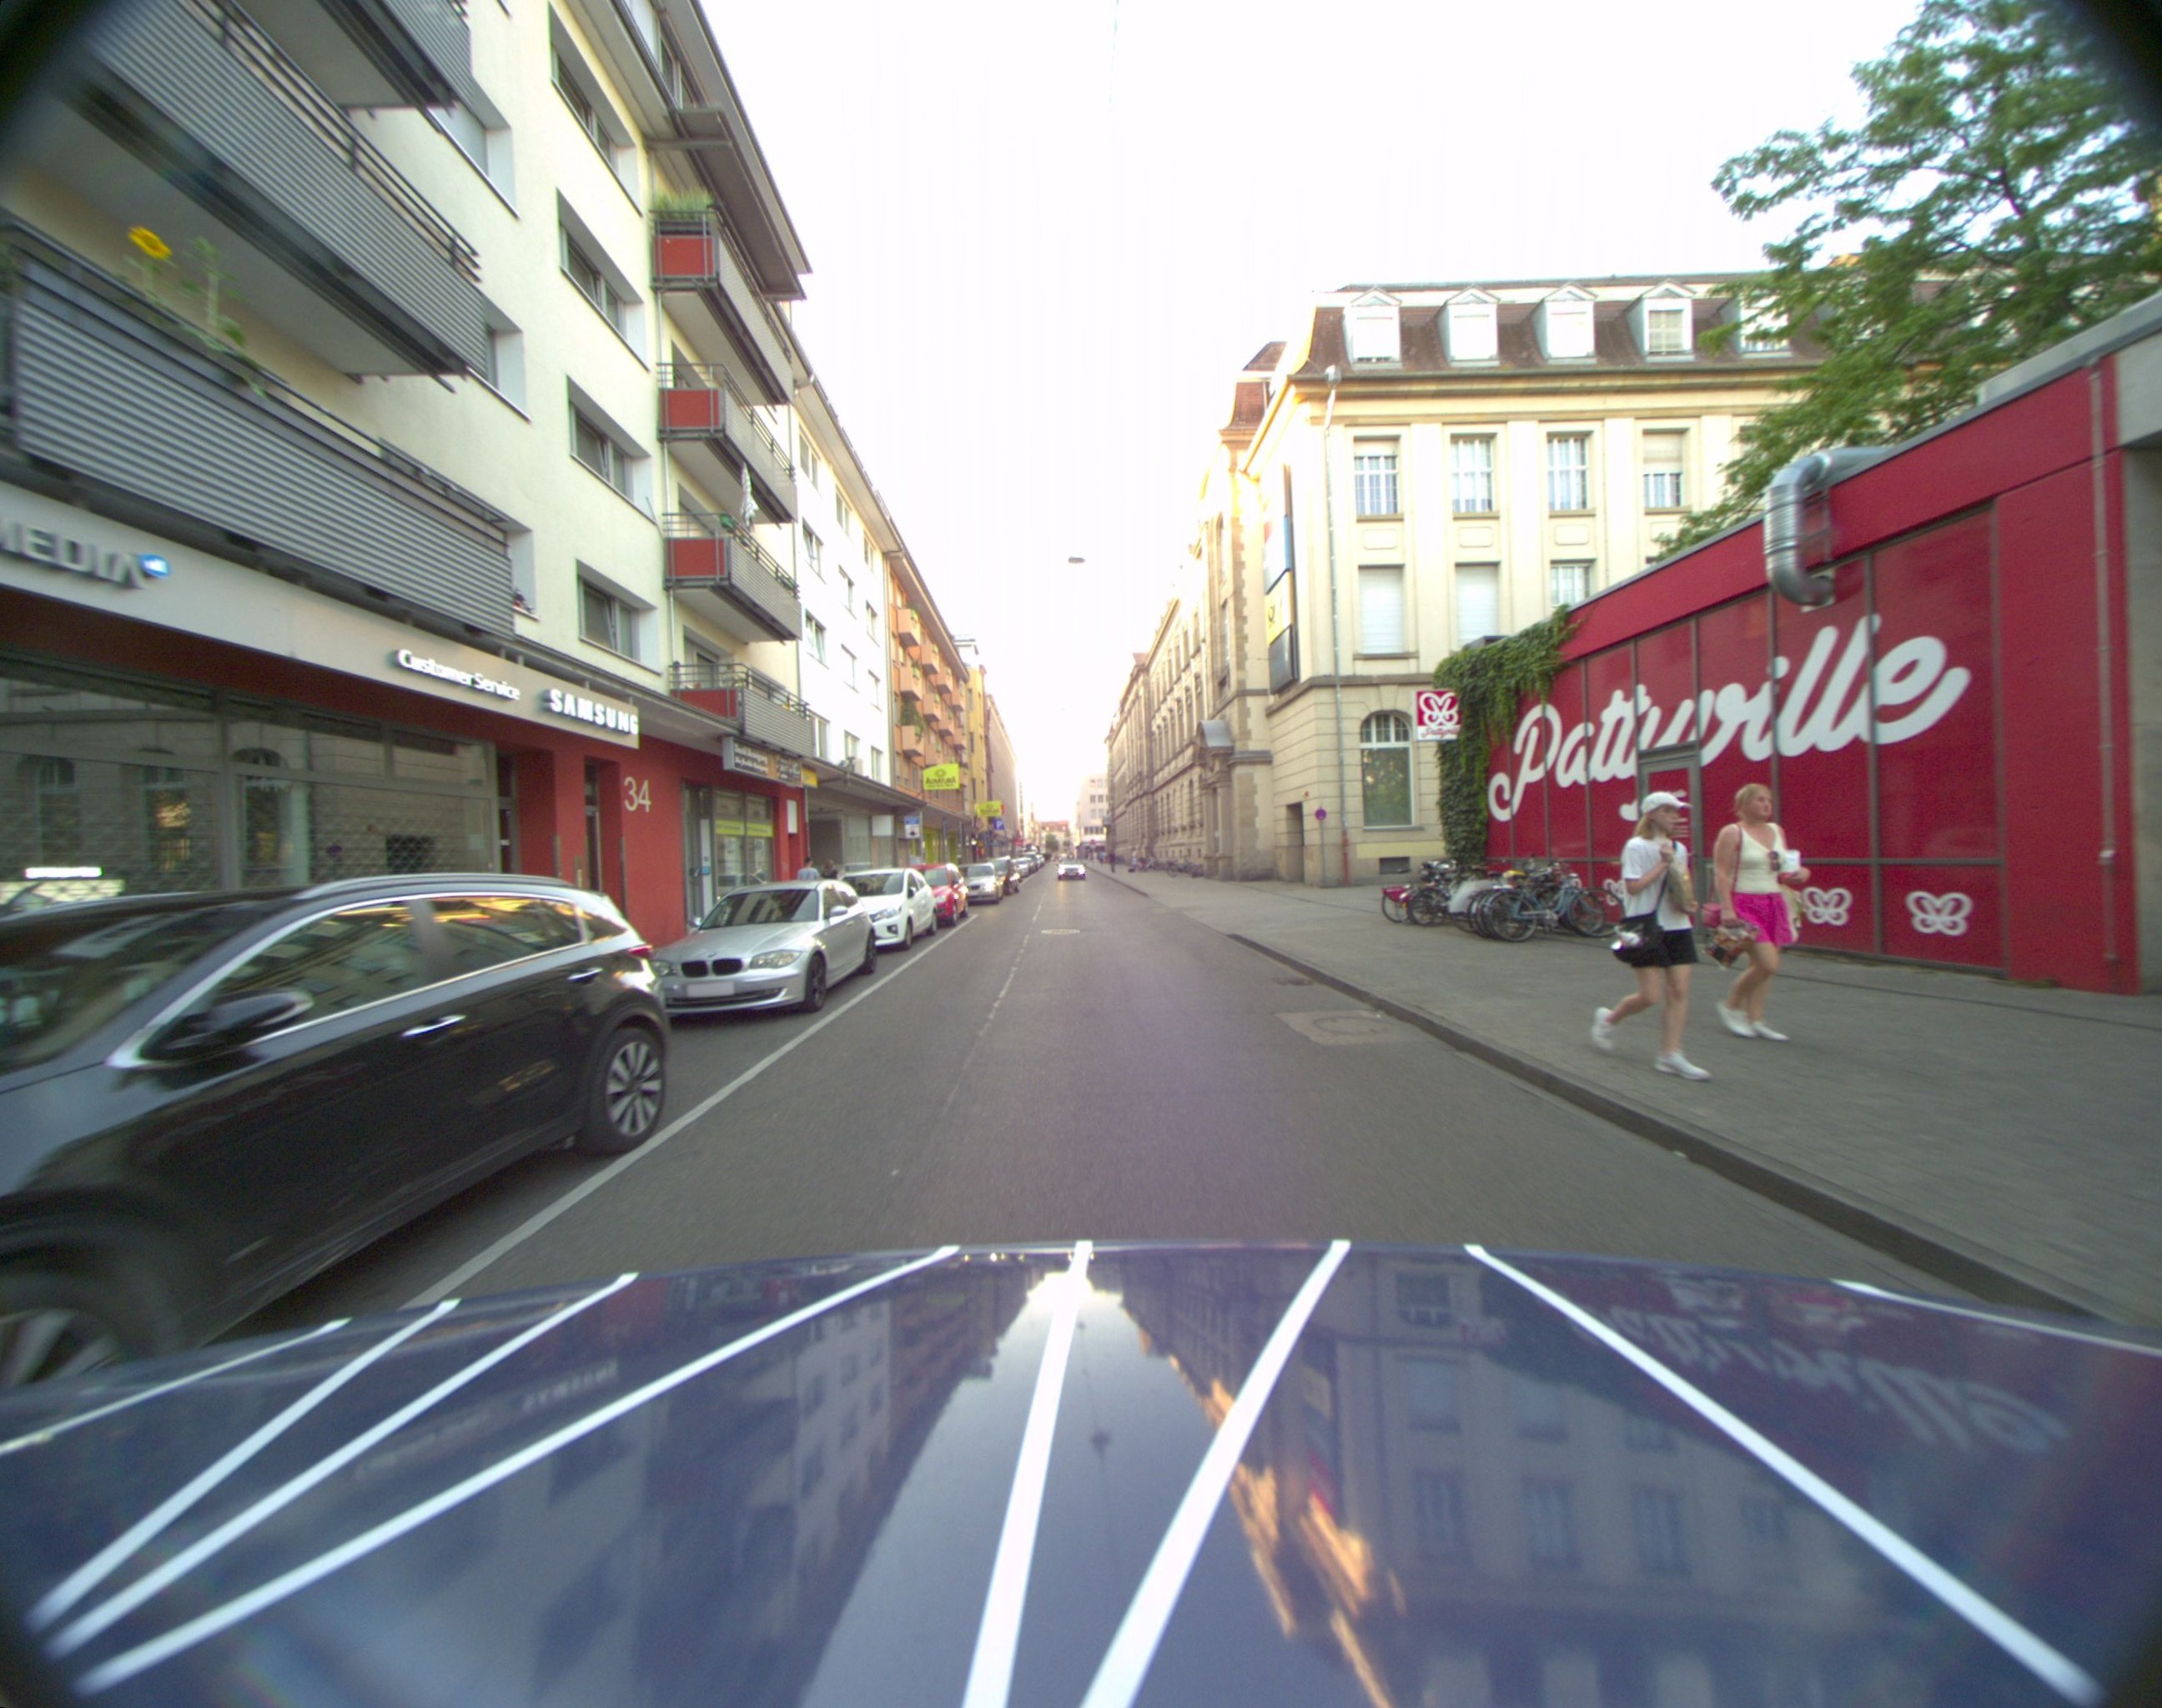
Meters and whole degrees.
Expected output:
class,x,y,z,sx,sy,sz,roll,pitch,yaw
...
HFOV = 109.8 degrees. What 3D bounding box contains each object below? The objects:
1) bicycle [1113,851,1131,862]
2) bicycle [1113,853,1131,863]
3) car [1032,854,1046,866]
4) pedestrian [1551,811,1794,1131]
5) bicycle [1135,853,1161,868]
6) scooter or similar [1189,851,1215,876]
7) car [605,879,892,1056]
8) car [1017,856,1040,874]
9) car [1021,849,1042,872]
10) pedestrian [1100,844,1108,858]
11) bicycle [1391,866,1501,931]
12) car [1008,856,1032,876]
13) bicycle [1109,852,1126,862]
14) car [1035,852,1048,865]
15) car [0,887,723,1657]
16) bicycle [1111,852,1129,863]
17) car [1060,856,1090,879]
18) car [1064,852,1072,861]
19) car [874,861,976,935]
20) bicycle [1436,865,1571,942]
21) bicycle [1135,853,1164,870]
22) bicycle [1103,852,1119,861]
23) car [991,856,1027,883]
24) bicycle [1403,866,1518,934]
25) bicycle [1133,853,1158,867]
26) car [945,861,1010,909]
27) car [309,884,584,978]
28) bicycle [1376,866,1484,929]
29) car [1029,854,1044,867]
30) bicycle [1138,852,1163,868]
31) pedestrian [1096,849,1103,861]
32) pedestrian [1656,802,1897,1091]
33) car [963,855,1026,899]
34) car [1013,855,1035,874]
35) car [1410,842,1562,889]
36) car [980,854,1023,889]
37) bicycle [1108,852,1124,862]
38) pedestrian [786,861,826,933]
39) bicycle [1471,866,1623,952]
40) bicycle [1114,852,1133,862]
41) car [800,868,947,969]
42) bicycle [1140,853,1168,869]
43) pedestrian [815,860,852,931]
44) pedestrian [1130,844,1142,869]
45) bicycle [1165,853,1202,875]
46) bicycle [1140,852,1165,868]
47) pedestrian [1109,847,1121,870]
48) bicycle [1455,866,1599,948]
class,x,y,z,sx,sy,sz,roll,pitch,yaw
bicycle,4.748,0.301,87.580,1.942,1.072,0.748,-4,1,-2
bicycle,4.780,0.432,89.621,1.943,1.072,0.729,-4,1,-8
car,-5.807,0.778,105.324,1.661,1.439,3.868,-4,1,0
pedestrian,3.583,0.648,4.700,0.650,1.740,0.985,-3,0,-2
bicycle,5.410,0.507,61.069,1.943,1.055,0.619,-4,1,-7
scooter or similar,6.249,0.492,39.154,1.137,1.225,0.496,-4,1,-13
car,-3.734,1.159,9.514,1.703,1.443,4.457,-5,0,-3
car,-4.811,0.960,69.800,1.691,1.444,4.498,-5,0,0
car,-4.955,0.616,76.883,1.851,2.046,5.052,-4,1,-2
pedestrian,2.956,-0.350,96.711,0.831,1.736,0.769,-5,1,-1
bicycle,6.796,0.812,14.188,1.799,1.101,0.500,-3,1,-2
car,-4.723,0.908,59.515,1.696,1.403,4.637,-5,0,-4
bicycle,4.582,0.415,95.740,1.943,1.072,0.729,-4,1,-8
car,-5.732,0.634,110.809,1.781,1.656,4.811,-4,1,-3
car,-3.451,1.108,2.980,1.769,1.632,4.790,-5,0,-1
bicycle,4.669,0.428,90.935,1.943,1.072,0.729,-4,1,-8
car,-0.436,0.823,48.925,1.741,1.407,4.681,0,0,-3
car,-2.907,0.557,170.202,1.824,1.728,3.999,-2,0,-2
car,-3.786,1.005,19.223,1.717,1.503,4.651,-5,0,-3
bicycle,6.652,0.773,12.009,1.798,1.101,0.500,-3,1,2
bicycle,5.035,0.554,55.787,1.942,1.055,0.619,-4,2,-3
bicycle,4.179,0.398,105.542,2.025,1.102,0.730,-4,1,-7
car,-4.345,0.911,46.669,1.696,1.406,4.756,-5,0,0
bicycle,6.809,0.813,13.653,1.799,1.101,0.500,-3,1,-2
bicycle,5.266,0.494,62.315,1.942,1.055,0.619,-4,1,-2
car,-3.590,1.035,27.090,1.741,1.407,4.681,-5,0,-3
car,-11.632,1.335,14.350,1.744,1.329,4.000,-2,0,1
bicycle,6.661,0.818,14.532,1.799,1.101,0.500,-3,1,-1
car,-5.438,0.800,93.809,1.661,1.439,4.307,-4,1,-2
bicycle,5.359,0.453,58.848,1.800,1.101,0.500,-4,1,-7
pedestrian,2.774,0.124,114.618,0.778,1.778,0.820,-3,1,-3
pedestrian,4.620,0.570,5.117,0.755,1.739,0.846,-4,0,-2
car,-3.604,0.912,32.465,1.798,1.600,4.487,-5,0,3
car,-4.826,0.874,64.685,1.622,1.507,4.173,-5,0,-2
car,13.126,0.358,24.758,4.016,1.363,1.750,-2,0,-2
car,-4.284,0.900,41.701,1.756,1.658,4.756,-5,0,0
bicycle,4.583,0.408,99.263,1.943,1.072,0.729,-4,1,-8
pedestrian,-6.528,0.995,18.054,0.649,1.652,0.794,1,1,1
bicycle,6.663,0.778,10.907,1.798,1.101,0.500,-3,1,2
bicycle,4.847,0.368,86.664,1.941,1.040,0.721,-3,1,-5
car,-3.813,1.111,14.689,1.610,1.503,4.048,-5,0,0
bicycle,5.445,0.499,56.836,1.943,1.055,0.619,-4,1,-7
pedestrian,-5.867,0.974,18.035,0.649,1.652,0.655,1,1,1
pedestrian,4.151,0.222,57.323,0.589,1.840,0.754,-4,1,-7
bicycle,5.786,0.555,42.936,1.944,1.055,0.619,-6,2,-16
bicycle,5.435,0.464,57.649,1.800,1.101,0.500,-4,1,-7
pedestrian,2.688,0.351,60.497,0.811,1.740,0.969,-4,1,-1
bicycle,6.648,0.776,11.377,1.798,1.101,0.500,-3,1,2
